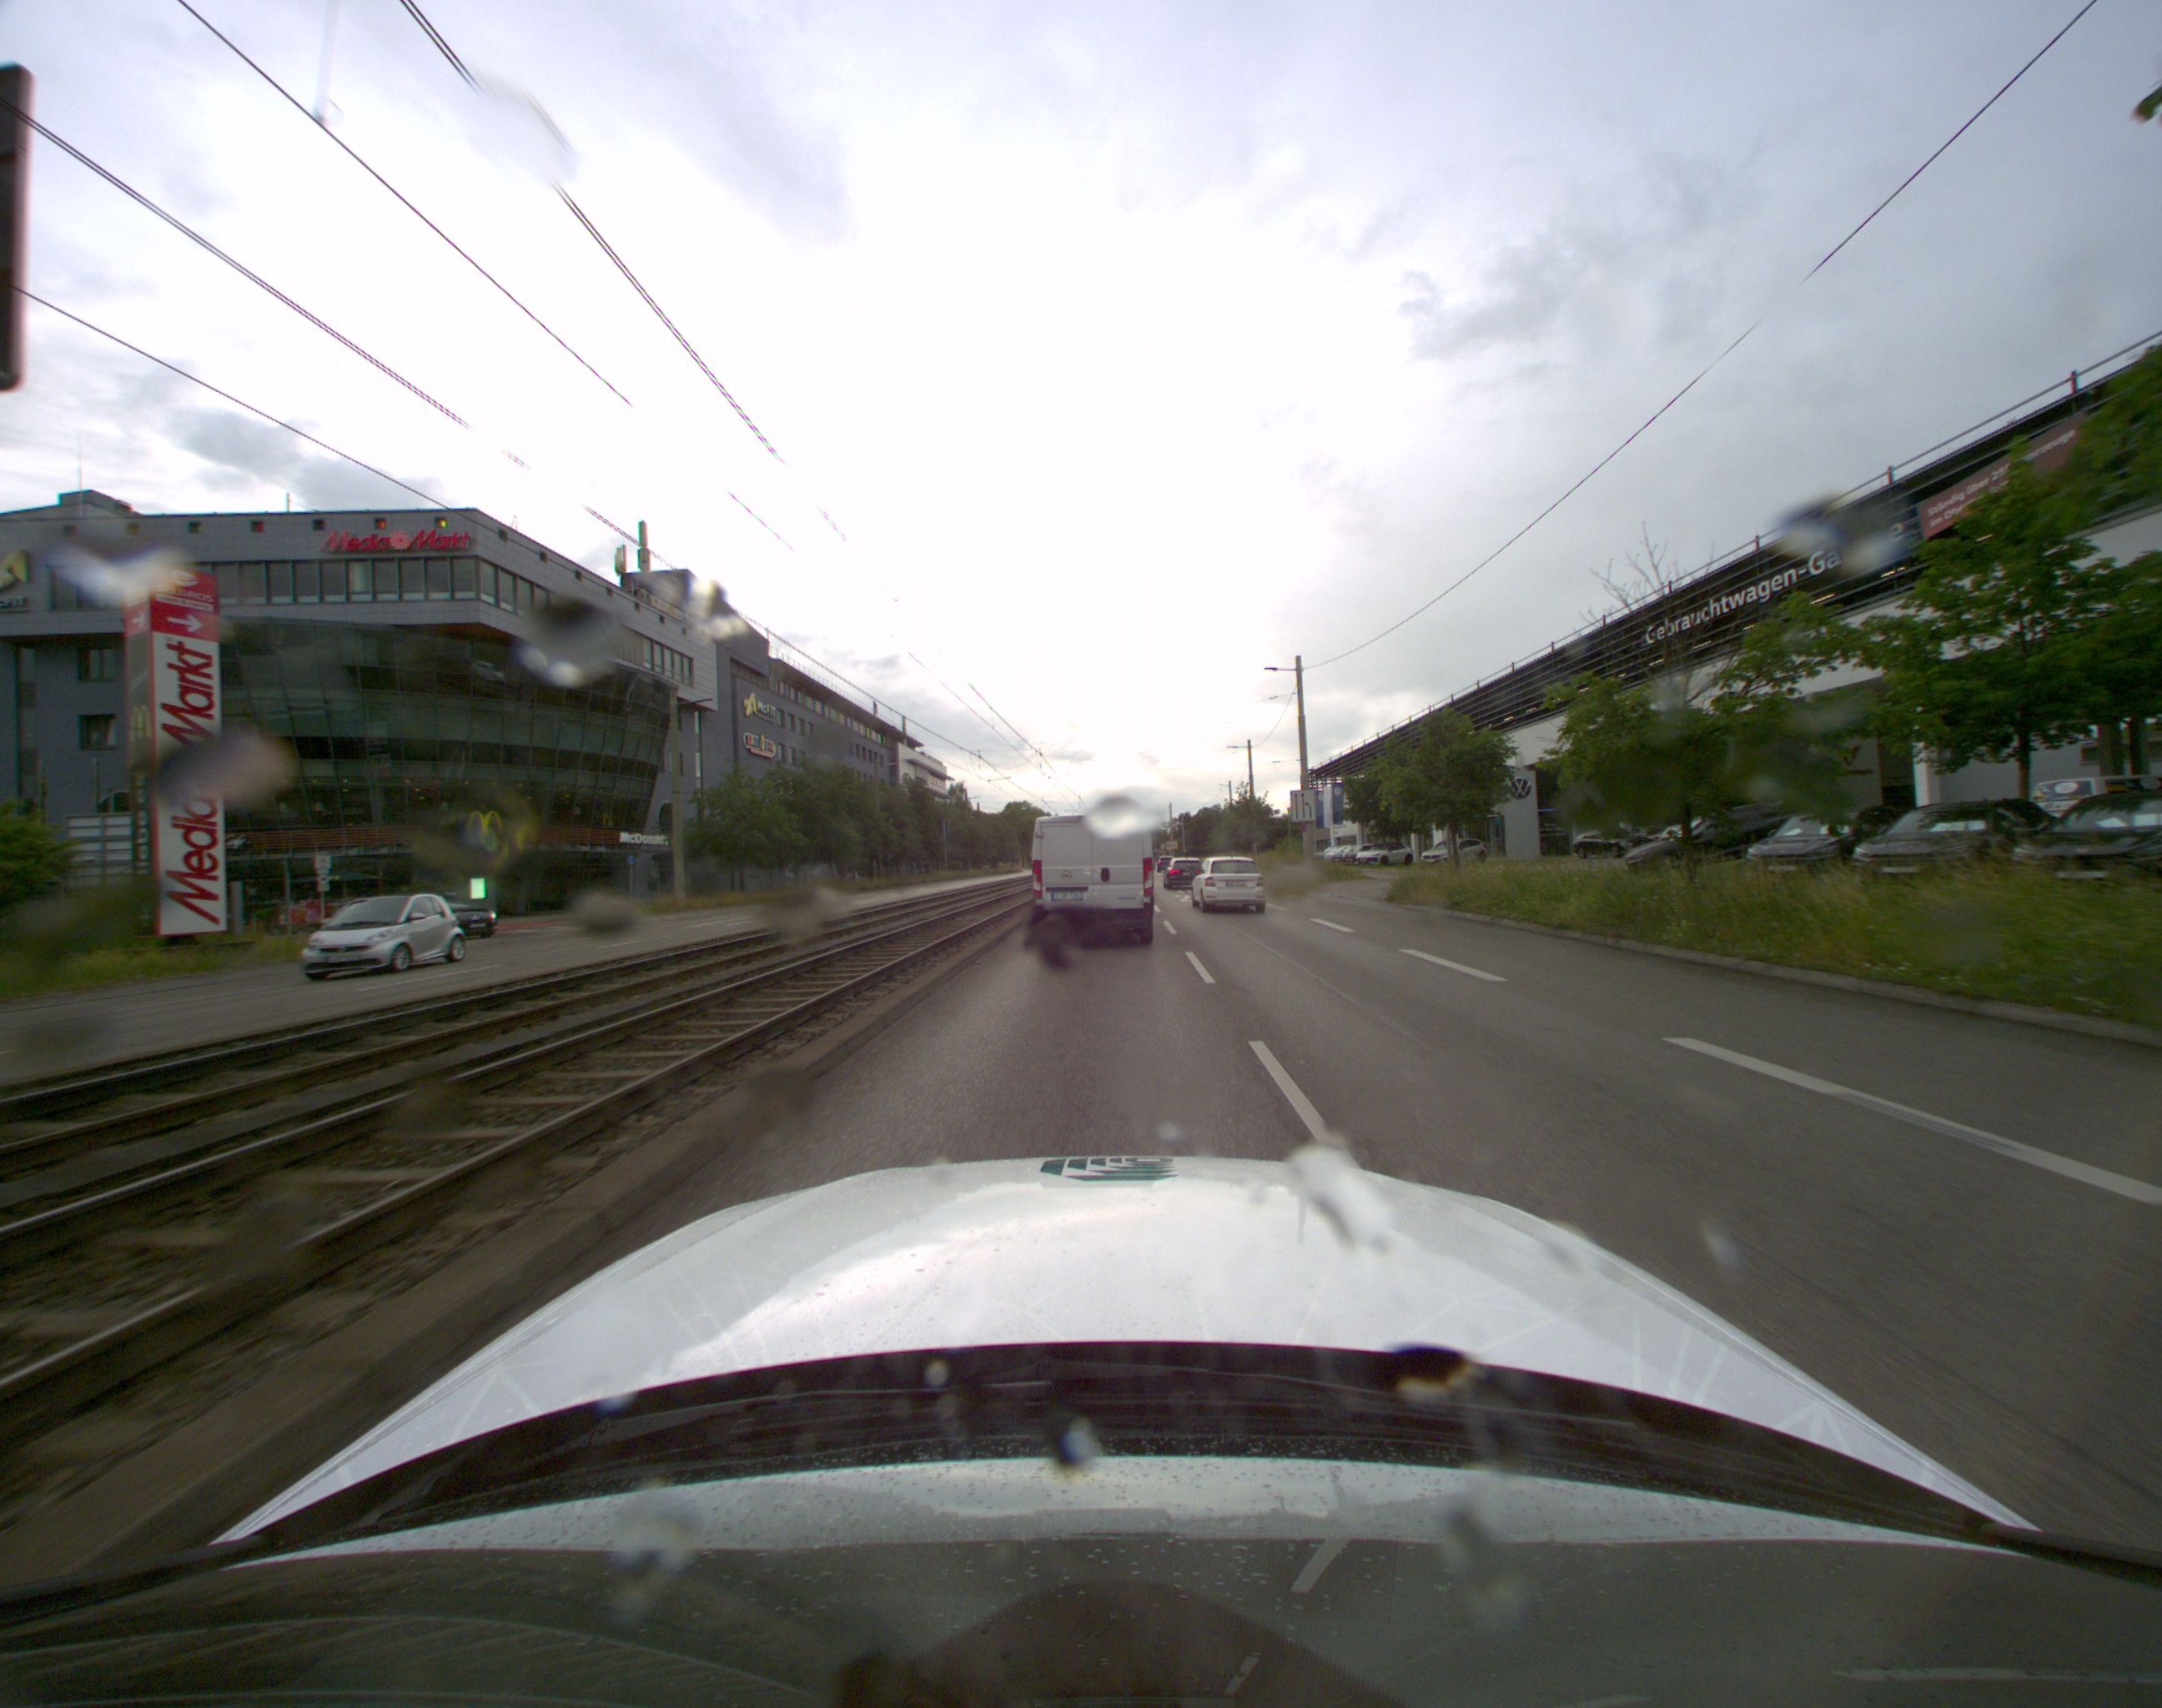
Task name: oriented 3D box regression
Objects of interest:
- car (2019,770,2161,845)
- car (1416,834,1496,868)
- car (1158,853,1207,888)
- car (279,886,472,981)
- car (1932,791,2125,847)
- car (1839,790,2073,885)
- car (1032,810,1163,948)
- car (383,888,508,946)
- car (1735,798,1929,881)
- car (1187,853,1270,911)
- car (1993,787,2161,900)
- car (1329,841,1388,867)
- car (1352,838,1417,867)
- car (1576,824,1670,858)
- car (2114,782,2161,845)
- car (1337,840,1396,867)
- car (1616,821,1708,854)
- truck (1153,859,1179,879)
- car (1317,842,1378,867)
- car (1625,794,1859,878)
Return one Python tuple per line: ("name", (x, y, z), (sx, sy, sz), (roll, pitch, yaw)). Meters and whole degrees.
("car", (30.730, -1.378, 23.897), (4.011, 1.976, 1.945), (-3, -1, 2))
("car", (19.742, -0.170, 42.846), (4.113, 1.465, 1.731), (-3, -2, -31))
("car", (4.574, 0.740, 37.163), (1.783, 1.449, 4.001), (-1, -1, 1))
("car", (-14.041, 1.508, 16.419), (1.599, 1.537, 2.939), (-4, 0, -12))
("car", (30.870, -1.103, 26.634), (3.972, 1.537, 1.906), (-3, -1, 2))
("car", (17.312, -0.326, 16.121), (4.158, 1.562, 1.855), (-4, -1, -24))
("car", (0.380, 0.406, 15.795), (2.082, 2.196, 5.064), (-1, 0, 2))
("car", (-21.604, 2.146, 27.651), (4.157, 1.736, 2.013), (-4, -1, 32))
("car", (17.500, -0.336, 18.960), (4.345, 1.612, 1.853), (-4, -1, -27))
("car", (3.986, 0.718, 22.551), (1.740, 1.457, 3.672), (0, 0, 1))
("car", (17.179, -0.248, 13.238), (4.156, 1.604, 1.813), (-4, -1, -23))
("car", (20.371, -0.009, 59.771), (4.205, 1.569, 1.781), (-3, -2, -32))
("car", (19.506, -0.087, 52.251), (4.117, 1.569, 1.780), (-3, -2, -34))
("car", (27.762, -0.601, 41.936), (1.773, 1.468, 4.696), (-4, -1, 2))
("car", (30.349, -1.169, 21.342), (3.972, 1.632, 1.906), (-3, -1, 2))
("car", (19.718, -0.023, 56.260), (4.210, 1.569, 1.778), (-3, -2, -38))
("car", (31.807, -0.883, 44.620), (3.801, 1.587, 1.639), (-3, -1, 1))
("truck", (7.903, 1.389, 76.355), (1.987, 1.790, 4.414), (-3, 0, 1))
("car", (20.756, 0.044, 63.384), (4.365, 1.626, 1.840), (-3, -2, -28))
("car", (18.067, -0.453, 22.585), (4.662, 1.876, 1.836), (-4, -1, 26))
